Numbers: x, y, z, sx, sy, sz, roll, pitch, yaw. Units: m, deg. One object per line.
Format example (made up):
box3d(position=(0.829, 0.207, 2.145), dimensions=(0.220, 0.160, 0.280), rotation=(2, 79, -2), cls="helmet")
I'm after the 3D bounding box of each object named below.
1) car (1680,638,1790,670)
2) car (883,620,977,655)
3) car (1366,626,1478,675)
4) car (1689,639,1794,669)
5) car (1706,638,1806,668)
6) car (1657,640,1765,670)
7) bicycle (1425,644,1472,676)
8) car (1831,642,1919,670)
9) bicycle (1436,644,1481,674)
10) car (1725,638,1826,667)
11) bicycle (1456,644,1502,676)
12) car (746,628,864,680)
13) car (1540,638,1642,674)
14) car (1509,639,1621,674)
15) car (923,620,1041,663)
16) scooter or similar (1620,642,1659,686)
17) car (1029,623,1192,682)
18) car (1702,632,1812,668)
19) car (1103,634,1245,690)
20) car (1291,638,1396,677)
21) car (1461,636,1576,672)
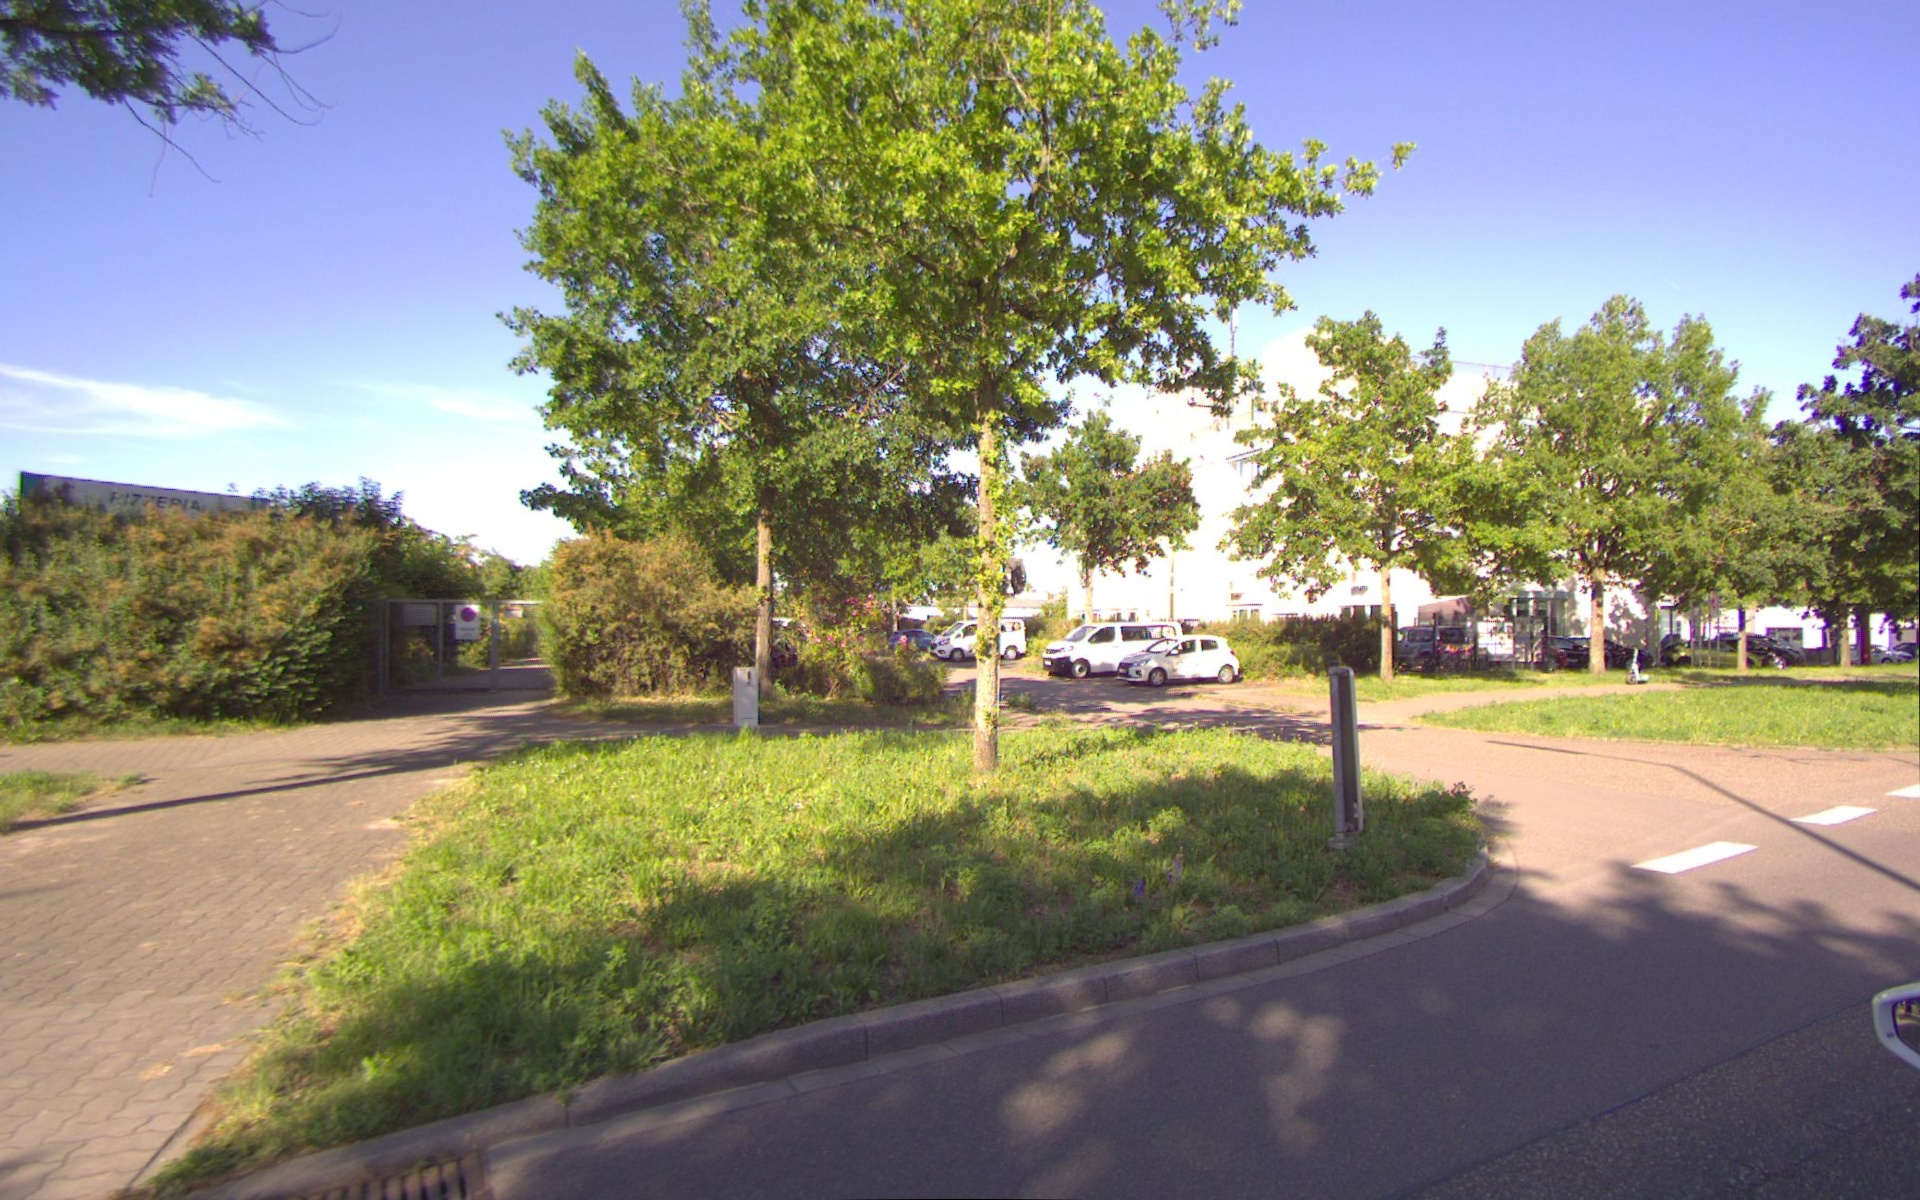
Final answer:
box3d(position=(40.125, 2.768, 52.089), dimensions=(4.087, 1.558, 1.897), rotation=(0, -2, 18), cls="car")
box3d(position=(-1.881, 2.288, 62.696), dimensions=(5.434, 1.954, 2.360), rotation=(-1, -1, -20), cls="car")
box3d(position=(18.999, 2.034, 41.496), dimensions=(1.995, 1.807, 4.012), rotation=(1, 0, -20), cls="car")
box3d(position=(42.338, 2.926, 54.517), dimensions=(4.088, 1.510, 2.000), rotation=(0, -2, 20), cls="car")
box3d(position=(44.877, 2.947, 56.756), dimensions=(4.093, 1.582, 1.998), rotation=(0, -2, 28), cls="car")
box3d(position=(37.505, 2.724, 50.292), dimensions=(3.875, 1.420, 2.001), rotation=(0, -2, 18), cls="car")
box3d(position=(17.568, 2.149, 36.118), dimensions=(1.870, 1.102, 0.636), rotation=(2, -2, -32), cls="bicycle")
box3d(position=(58.722, 3.569, 64.524), dimensions=(1.931, 1.639, 3.743), rotation=(1, -2, -16), cls="car")
box3d(position=(18.667, 2.210, 37.595), dimensions=(1.870, 1.102, 0.636), rotation=(2, -2, -32), cls="bicycle")
box3d(position=(57.488, 3.676, 70.927), dimensions=(2.109, 1.841, 5.305), rotation=(1, -2, -16), cls="car")
box3d(position=(18.908, 2.173, 36.580), dimensions=(1.870, 1.102, 0.636), rotation=(2, -2, -32), cls="bicycle")
box3d(position=(-5.041, 1.752, 32.568), dimensions=(3.498, 1.524, 1.798), rotation=(3, -2, -20), cls="car")
box3d(position=(29.143, 2.564, 46.527), dimensions=(3.929, 1.531, 1.798), rotation=(-1, -1, 30), cls="car")
box3d(position=(26.808, 2.479, 44.666), dimensions=(3.920, 1.467, 1.802), rotation=(0, -2, 17), cls="car")
box3d(position=(1.094, 2.058, 50.683), dimensions=(5.434, 1.954, 2.360), rotation=(-1, -1, -20), cls="car")
box3d(position=(20.257, 1.901, 29.958), dimensions=(1.424, 1.296, 0.393), rotation=(2, -2, -31), cls="scooter or similar")
box3d(position=(5.418, 1.849, 36.296), dimensions=(5.357, 1.841, 2.298), rotation=(-1, -1, -20), cls="car")
box3d(position=(48.142, 2.992, 60.794), dimensions=(4.762, 2.040, 2.001), rotation=(0, -2, 18), cls="car")
box3d(position=(6.668, 1.898, 31.379), dimensions=(3.857, 1.524, 1.991), rotation=(-1, -1, -20), cls="car")
box3d(position=(15.299, 2.270, 40.004), dimensions=(3.950, 1.467, 1.788), rotation=(2, -2, -28), cls="car")
box3d(position=(23.727, 2.278, 42.807), dimensions=(3.919, 1.467, 1.802), rotation=(0, -2, 12), cls="car")
